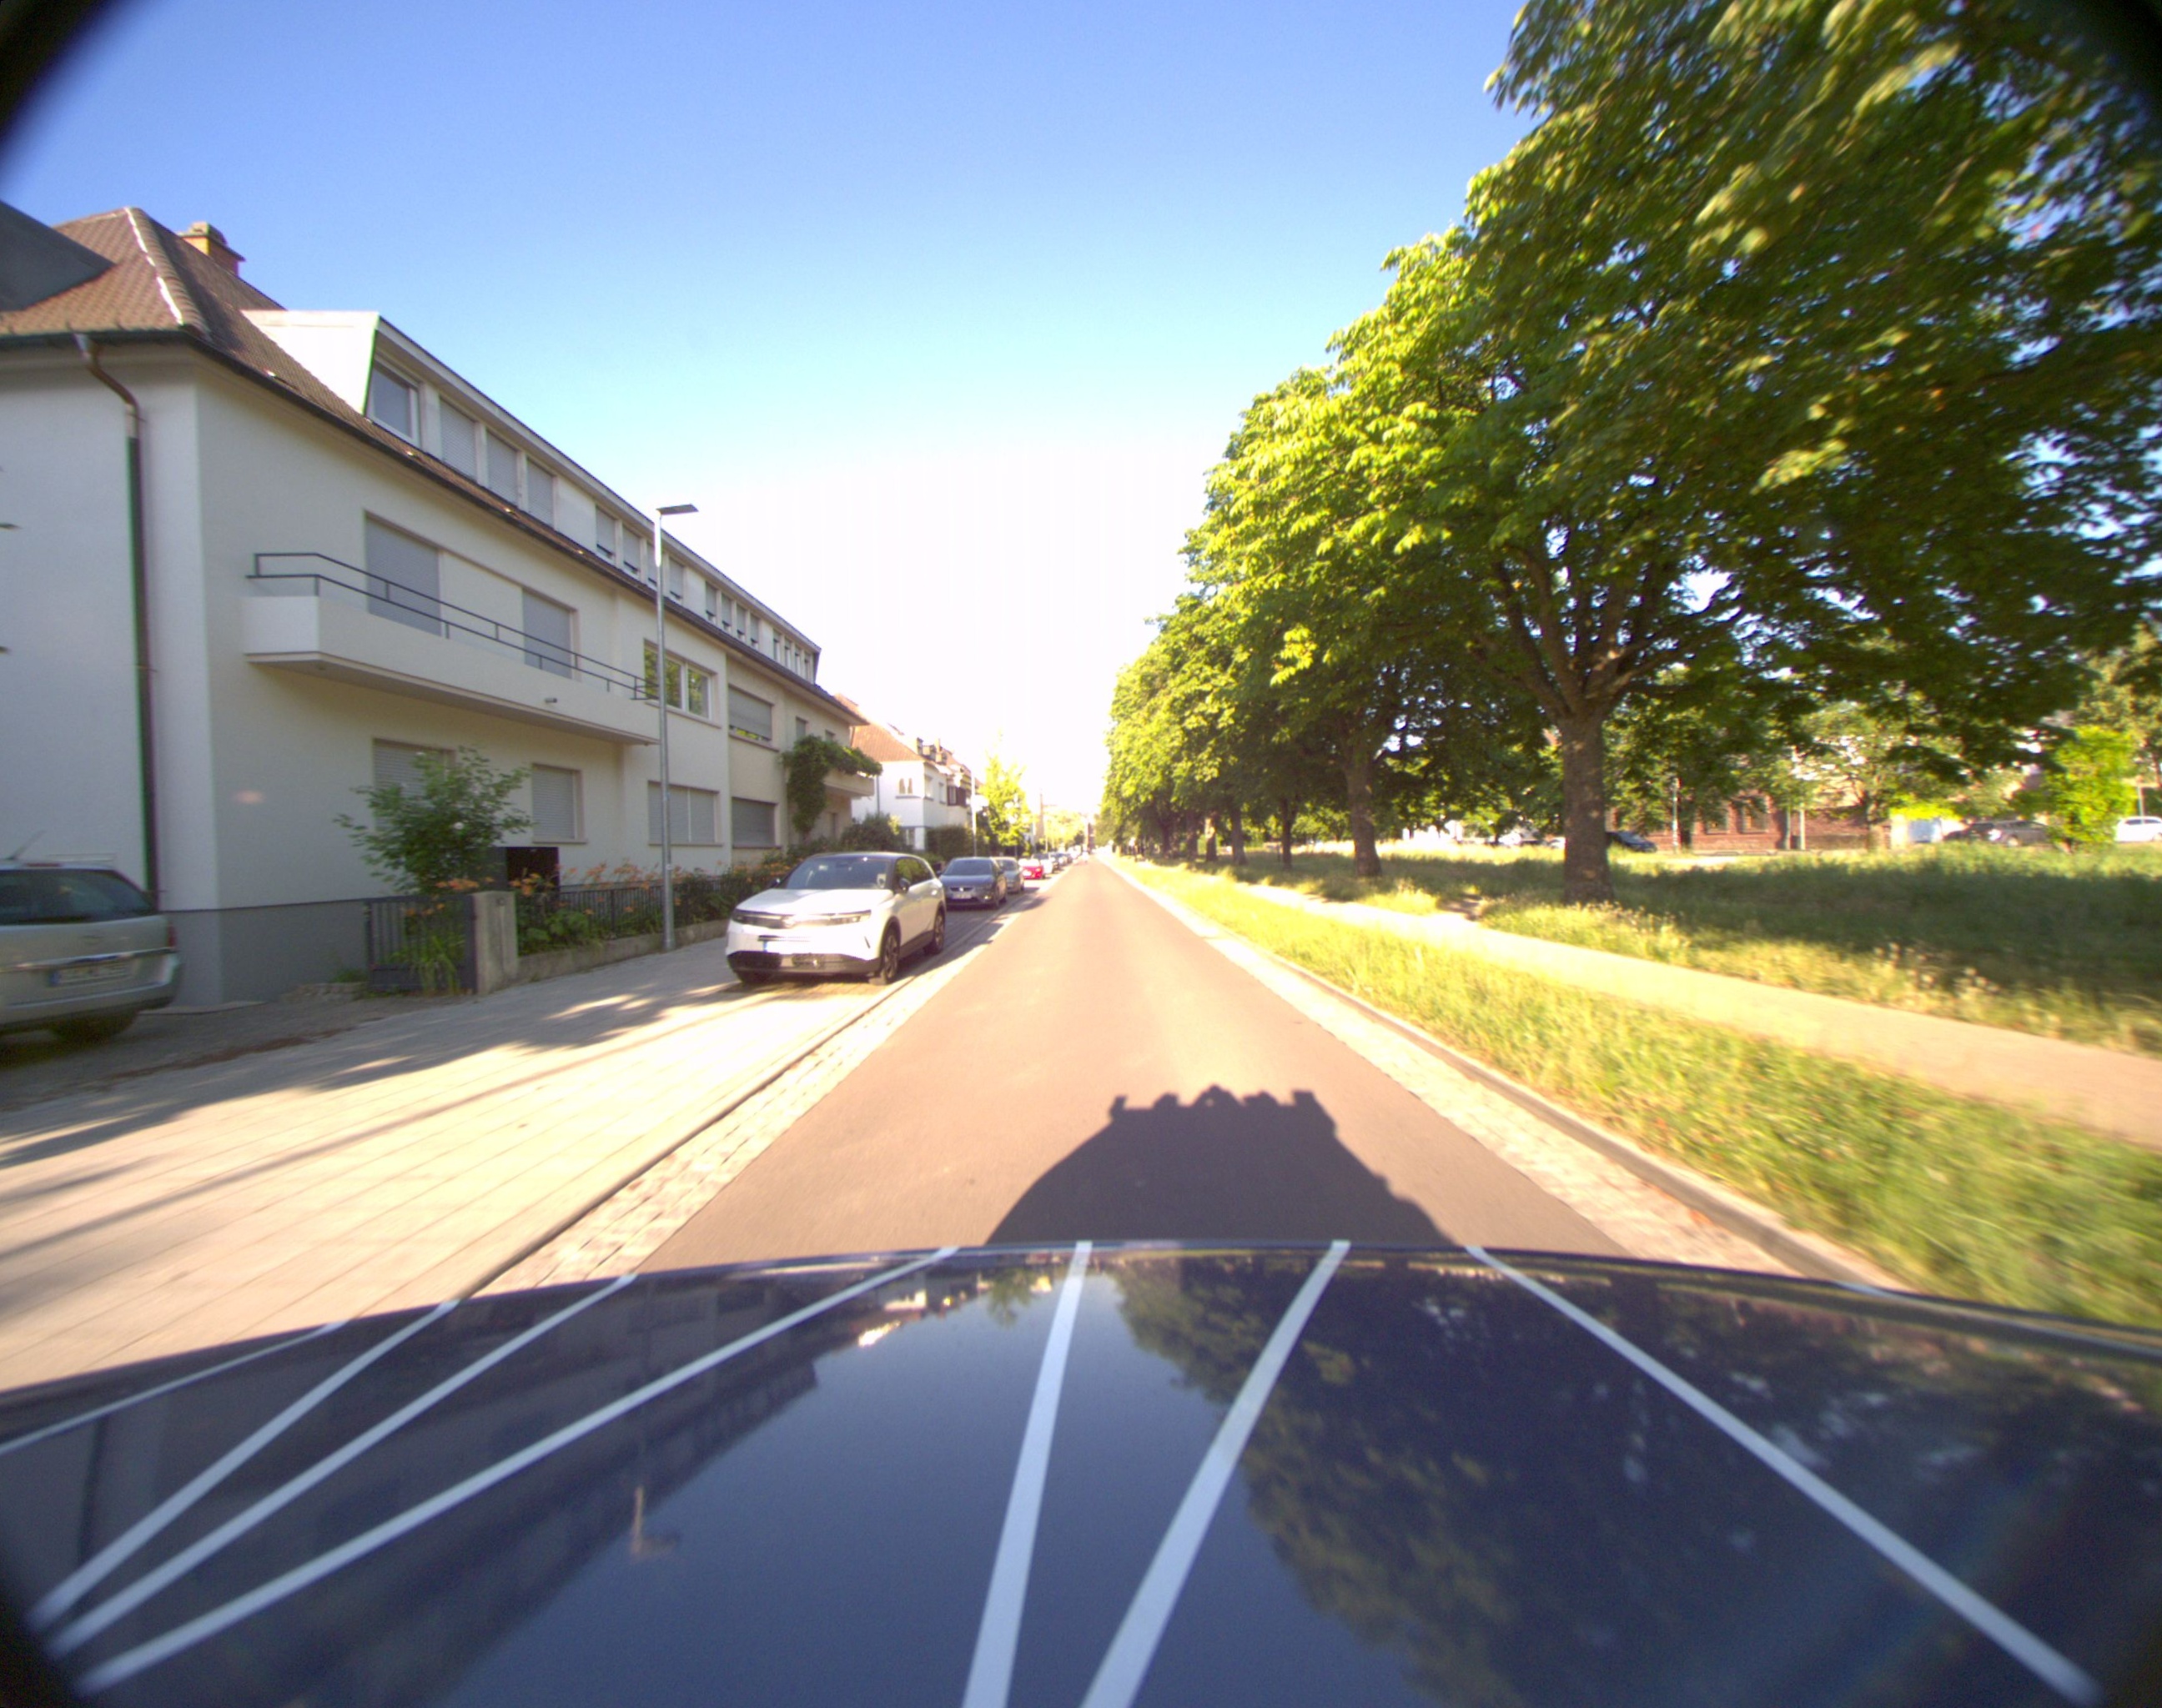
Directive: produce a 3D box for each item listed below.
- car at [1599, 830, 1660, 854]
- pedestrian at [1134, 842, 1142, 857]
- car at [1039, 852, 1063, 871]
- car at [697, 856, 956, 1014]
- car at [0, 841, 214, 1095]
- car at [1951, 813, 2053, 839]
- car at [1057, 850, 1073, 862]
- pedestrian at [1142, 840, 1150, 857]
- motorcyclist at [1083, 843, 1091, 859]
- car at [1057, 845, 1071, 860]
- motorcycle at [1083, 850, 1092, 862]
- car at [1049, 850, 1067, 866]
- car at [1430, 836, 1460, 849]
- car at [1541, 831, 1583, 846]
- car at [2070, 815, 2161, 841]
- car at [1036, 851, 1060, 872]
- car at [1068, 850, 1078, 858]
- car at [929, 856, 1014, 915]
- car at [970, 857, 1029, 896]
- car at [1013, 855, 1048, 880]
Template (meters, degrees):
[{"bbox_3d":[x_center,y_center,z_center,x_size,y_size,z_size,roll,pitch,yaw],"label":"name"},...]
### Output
[{"bbox_3d":[37.471,-0.822,52.043,1.585,1.473,3.639,-2,1,1],"label":"car"},{"bbox_3d":[6.239,-0.505,83.660,0.625,1.621,0.606,-2,2,27],"label":"pedestrian"},{"bbox_3d":[-2.457,0.594,63.227,1.746,1.471,4.056,-2,0,0],"label":"car"},{"bbox_3d":[-3.172,0.902,10.624,1.910,1.698,4.576,1,0,2],"label":"car"},{"bbox_3d":[-9.844,0.918,5.840,3.994,1.834,1.815,-3,-1,-5],"label":"car"},{"bbox_3d":[51.198,-1.550,42.292,3.636,1.273,1.586,-2,1,2],"label":"car"},{"bbox_3d":[-2.066,0.270,99.071,1.844,1.471,3.764,-2,0,2],"label":"car"},{"bbox_3d":[7.091,-0.638,83.133,0.625,1.841,0.606,-1,2,40],"label":"pedestrian"},{"bbox_3d":[0.748,-0.412,96.467,0.961,2.002,1.273,-2,1,0],"label":"motorcyclist"},{"bbox_3d":[-2.563,-0.276,114.800,1.844,2.196,3.764,-2,0,1],"label":"car"},{"bbox_3d":[0.770,0.266,96.637,1.077,1.373,2.463,-2,1,0],"label":"motorcycle"},{"bbox_3d":[-2.357,0.396,78.960,1.665,1.526,3.833,0,1,2],"label":"car"},{"bbox_3d":[43.384,-1.346,90.730,1.767,1.471,3.795,-2,1,0],"label":"car"},{"bbox_3d":[43.201,-1.398,68.309,1.585,1.267,3.580,-2,1,1],"label":"car"},{"bbox_3d":[58.208,-1.448,42.497,3.636,1.273,1.586,-2,1,2],"label":"car"},{"bbox_3d":[-2.312,0.520,53.654,1.508,1.471,3.492,0,0,1],"label":"car"},{"bbox_3d":[-1.611,-0.068,147.745,1.844,1.471,3.763,-2,0,0],"label":"car"},{"bbox_3d":[-3.072,0.846,22.069,1.798,1.485,4.194,1,0,1],"label":"car"},{"bbox_3d":[-3.105,0.815,29.671,1.798,1.372,4.078,1,0,1],"label":"car"},{"bbox_3d":[-2.818,0.746,43.287,1.702,1.250,3.879,0,1,1],"label":"car"}]
